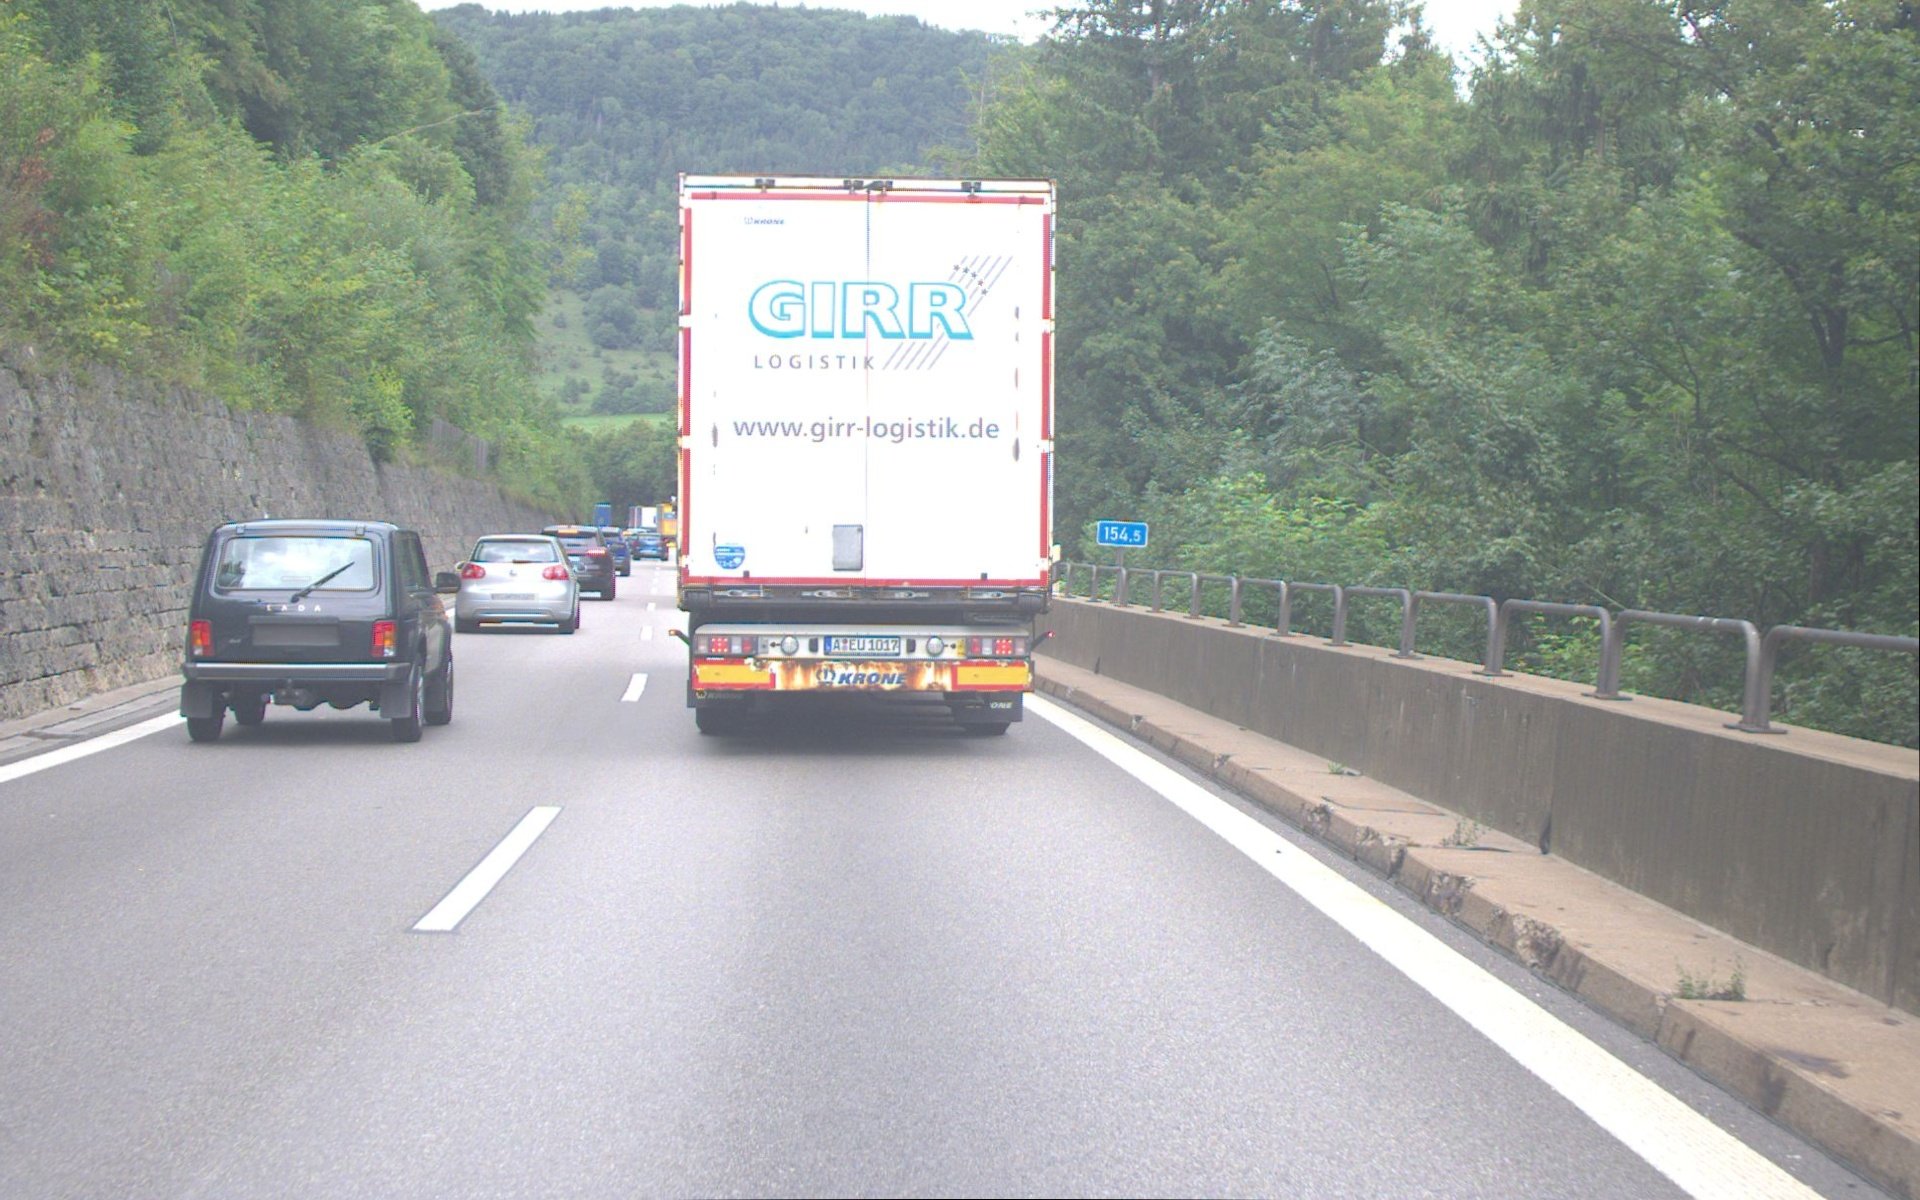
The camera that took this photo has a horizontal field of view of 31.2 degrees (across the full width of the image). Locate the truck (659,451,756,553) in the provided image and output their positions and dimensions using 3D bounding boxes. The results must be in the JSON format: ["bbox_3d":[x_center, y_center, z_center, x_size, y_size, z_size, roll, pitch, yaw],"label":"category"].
[{"bbox_3d":[-10.346,-3.950,141.838,3.510,3.834,11.777,1,0,-2],"label":"truck"}]

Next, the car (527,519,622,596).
[{"bbox_3d":[-8.384,-0.928,75.002,1.916,1.589,4.180,1,1,-5],"label":"car"}]

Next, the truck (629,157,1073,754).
[{"bbox_3d":[-0.867,-1.038,27.621,2.908,3.947,9.280,1,1,-2],"label":"truck"}]

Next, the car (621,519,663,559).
[{"bbox_3d":[-16.574,-3.166,179.106,1.993,2.007,4.000,1,0,-3],"label":"car"}]

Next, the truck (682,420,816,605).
[{"bbox_3d":[-4.486,-1.763,71.562,2.485,3.559,9.310,1,1,-5],"label":"truck"}]

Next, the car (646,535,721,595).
[{"bbox_3d":[-9.559,-1.191,119.118,1.994,2.007,4.000,1,0,3],"label":"car"}]

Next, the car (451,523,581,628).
[{"bbox_3d":[-6.604,-0.374,51.412,1.729,1.481,4.001,1,1,-5],"label":"car"}]

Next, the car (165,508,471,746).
[{"bbox_3d":[-4.740,0.162,25.874,1.669,1.633,4.068,1,1,-2],"label":"car"}]
